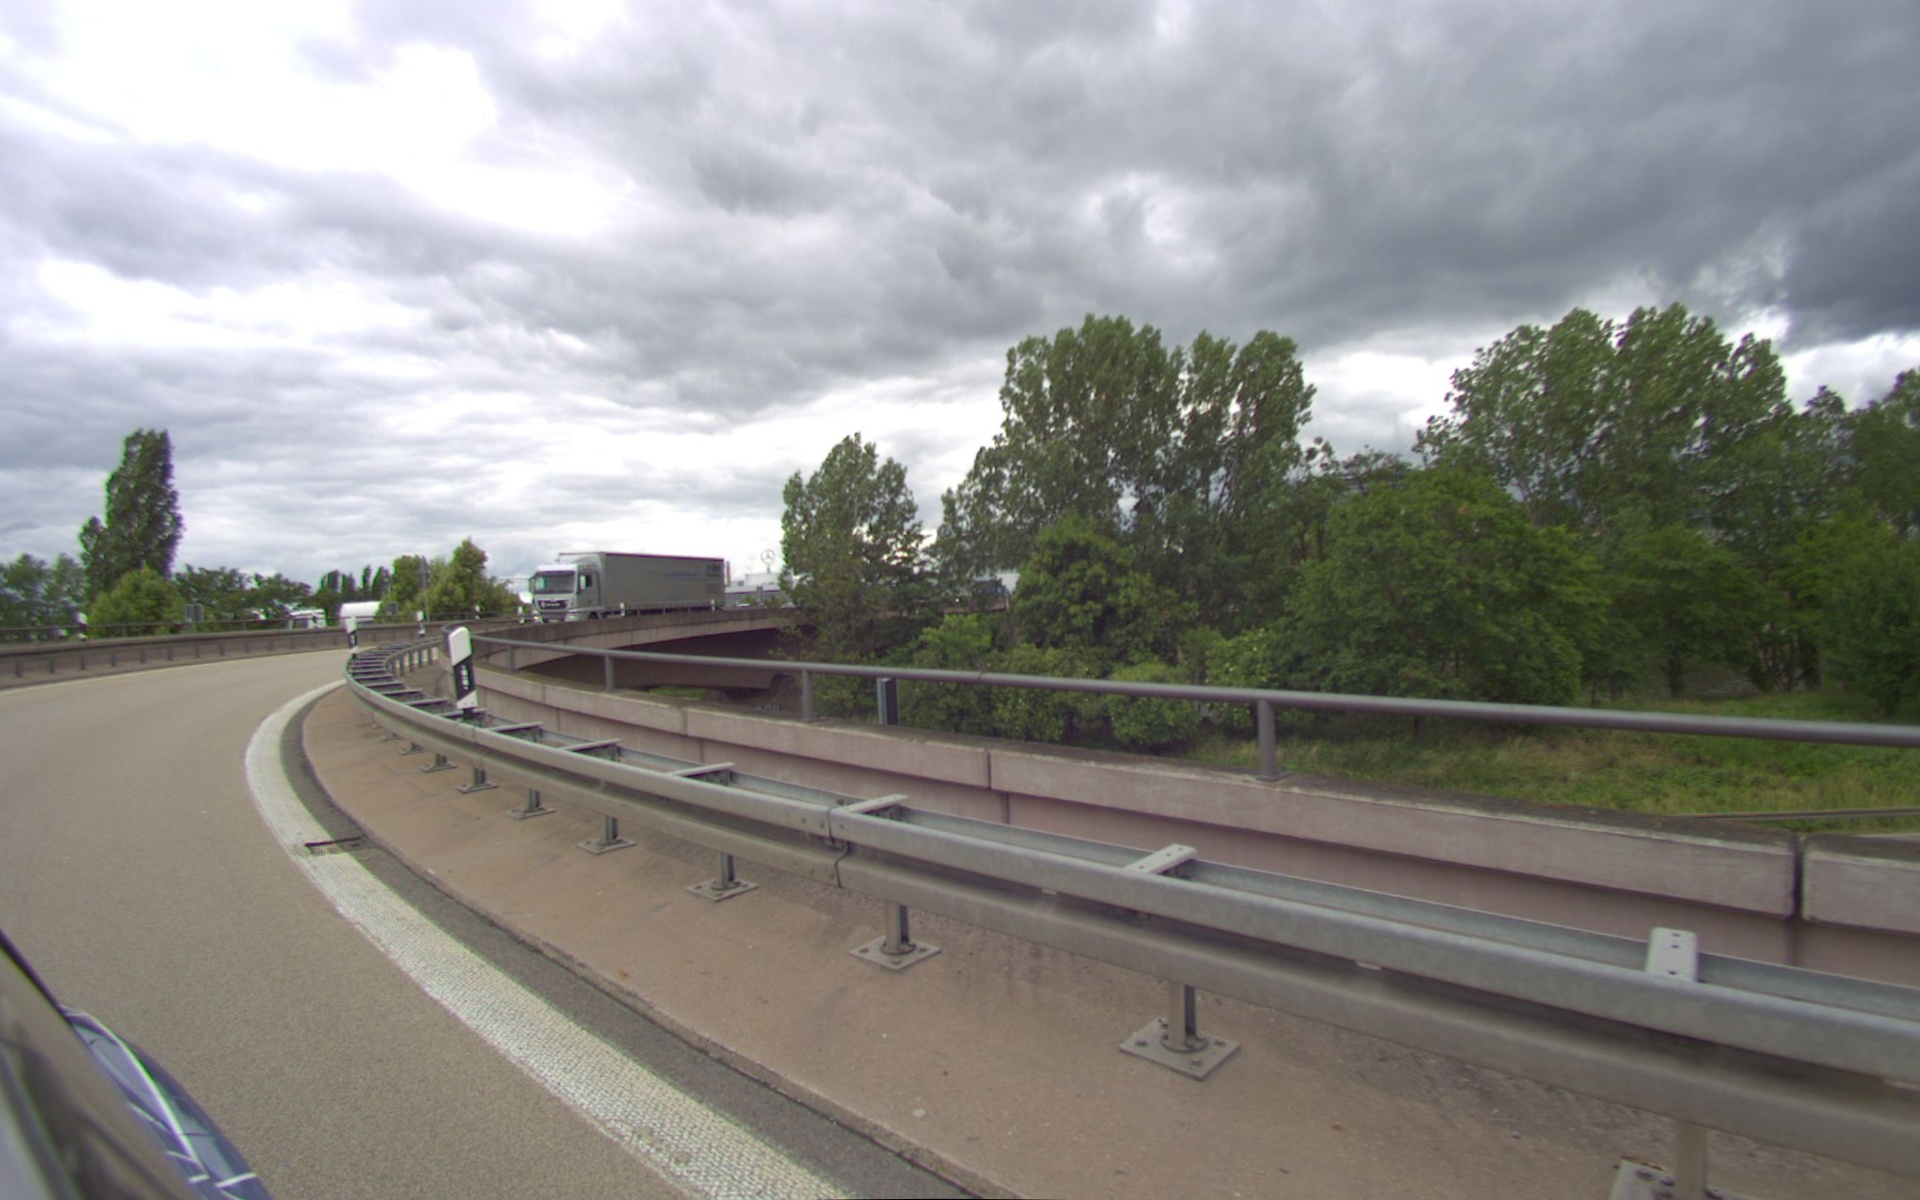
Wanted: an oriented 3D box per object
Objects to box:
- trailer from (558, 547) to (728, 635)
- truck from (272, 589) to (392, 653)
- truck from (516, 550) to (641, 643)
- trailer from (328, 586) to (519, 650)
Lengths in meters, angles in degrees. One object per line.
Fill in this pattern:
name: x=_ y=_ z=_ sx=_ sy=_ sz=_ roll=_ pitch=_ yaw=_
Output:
trailer: x=-17.323 y=-0.511 z=56.988 sx=2.721 sy=4.269 sz=13.394 roll=-2 pitch=0 yaw=13
truck: x=-39.967 y=1.291 z=64.482 sx=6.102 sy=3.673 sz=2.742 roll=-2 pitch=0 yaw=-38
truck: x=-18.728 y=-0.187 z=50.124 sx=2.709 sy=4.260 sz=6.176 roll=-2 pitch=0 yaw=13
trailer: x=-35.725 y=1.107 z=67.809 sx=10.832 sy=3.677 sz=2.754 roll=-3 pitch=0 yaw=-40
